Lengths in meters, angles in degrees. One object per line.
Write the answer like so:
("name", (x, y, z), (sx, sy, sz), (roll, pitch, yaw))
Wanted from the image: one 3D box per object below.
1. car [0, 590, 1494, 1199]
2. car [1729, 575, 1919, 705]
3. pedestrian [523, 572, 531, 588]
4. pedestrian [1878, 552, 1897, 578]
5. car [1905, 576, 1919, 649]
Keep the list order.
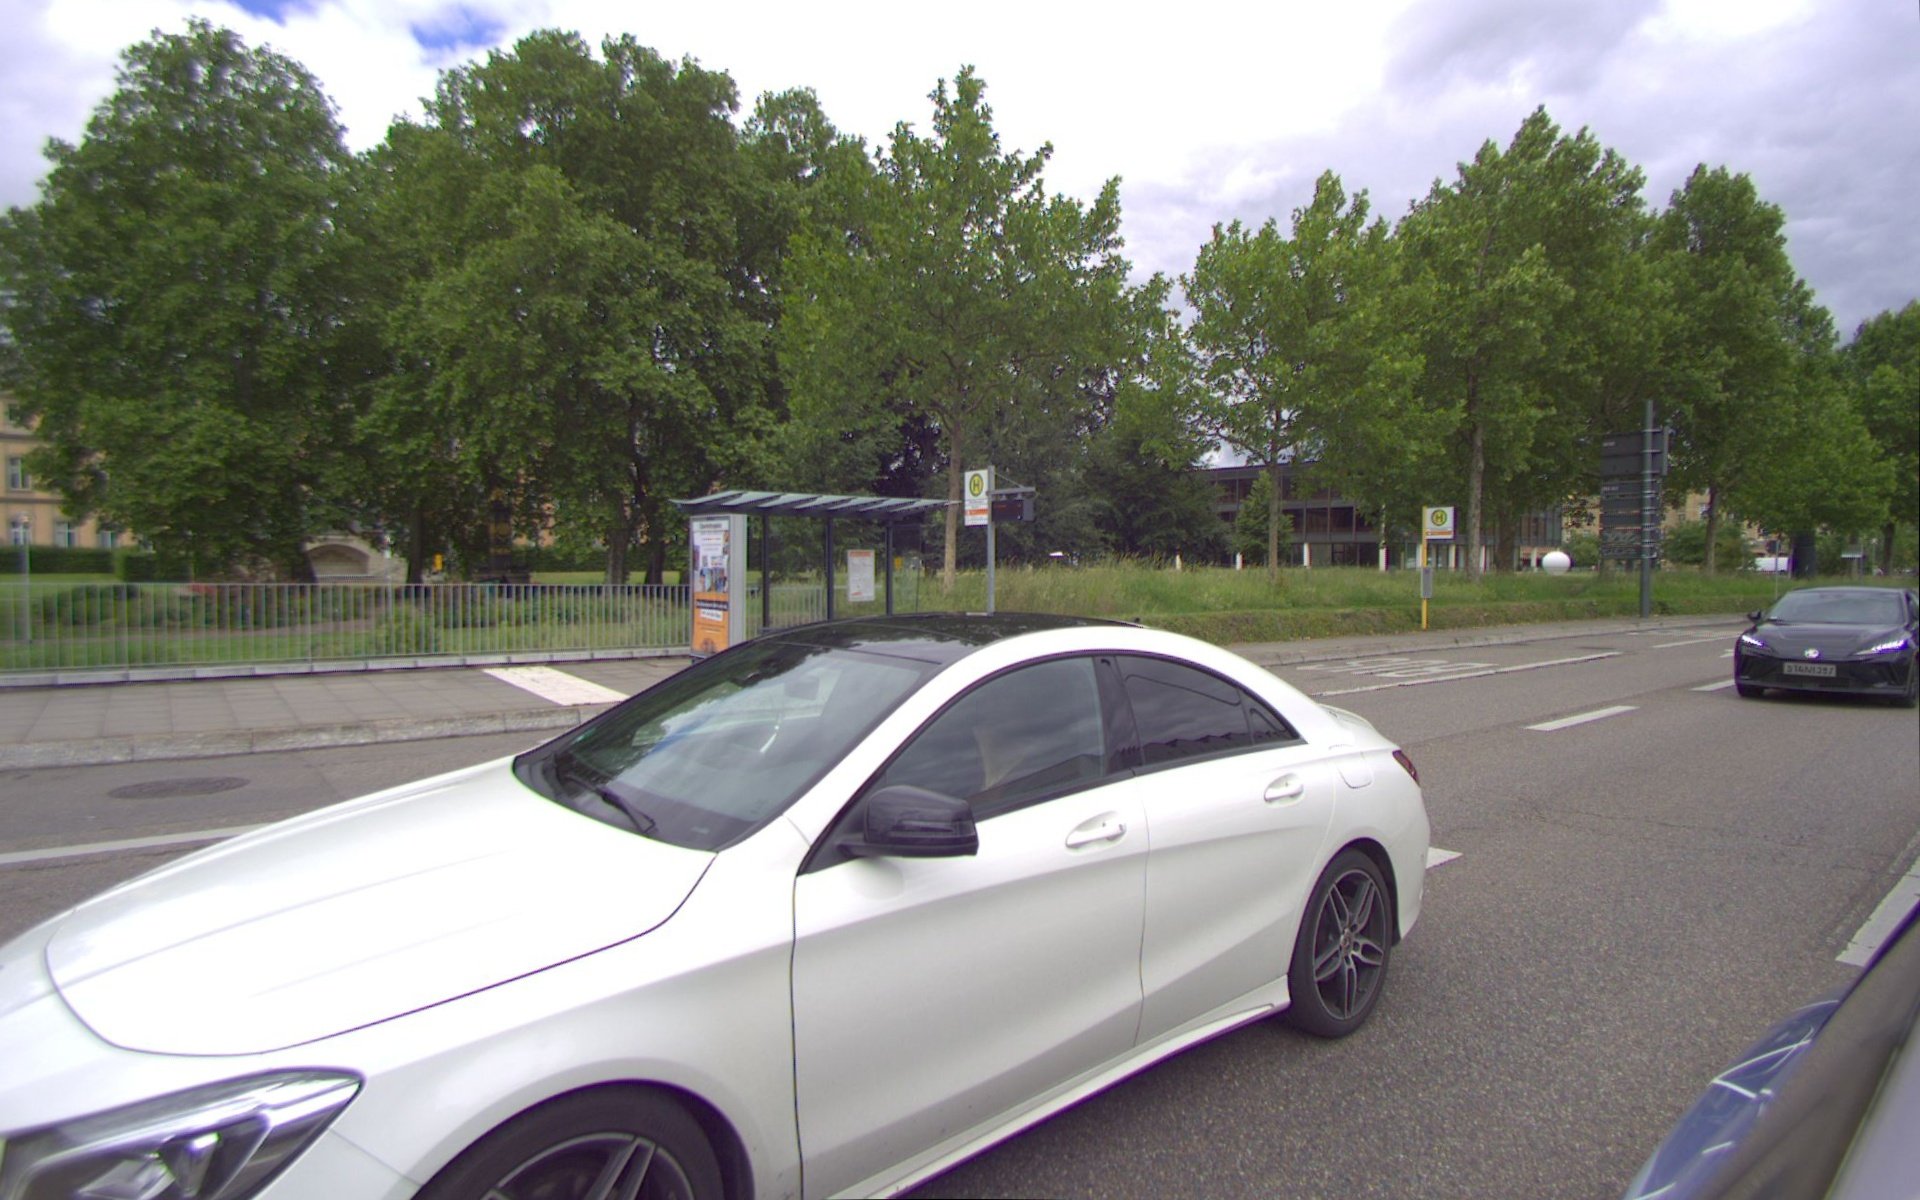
("car", (-0.180, 0.728, 3.278), (4.446, 1.437, 1.799), (-1, 2, -39))
("car", (12.207, 0.421, 13.840), (4.020, 1.508, 1.852), (-1, 2, -40))
("pedestrian", (-37.183, -1.707, 86.894), (0.401, 1.347, 0.465), (-1, 0, 21))
("pedestrian", (71.997, -2.719, 78.535), (1.160, 2.039, 0.891), (-2, 0, -40))
("car", (21.174, 0.237, 21.004), (3.944, 1.452, 1.804), (-1, 2, -40))
